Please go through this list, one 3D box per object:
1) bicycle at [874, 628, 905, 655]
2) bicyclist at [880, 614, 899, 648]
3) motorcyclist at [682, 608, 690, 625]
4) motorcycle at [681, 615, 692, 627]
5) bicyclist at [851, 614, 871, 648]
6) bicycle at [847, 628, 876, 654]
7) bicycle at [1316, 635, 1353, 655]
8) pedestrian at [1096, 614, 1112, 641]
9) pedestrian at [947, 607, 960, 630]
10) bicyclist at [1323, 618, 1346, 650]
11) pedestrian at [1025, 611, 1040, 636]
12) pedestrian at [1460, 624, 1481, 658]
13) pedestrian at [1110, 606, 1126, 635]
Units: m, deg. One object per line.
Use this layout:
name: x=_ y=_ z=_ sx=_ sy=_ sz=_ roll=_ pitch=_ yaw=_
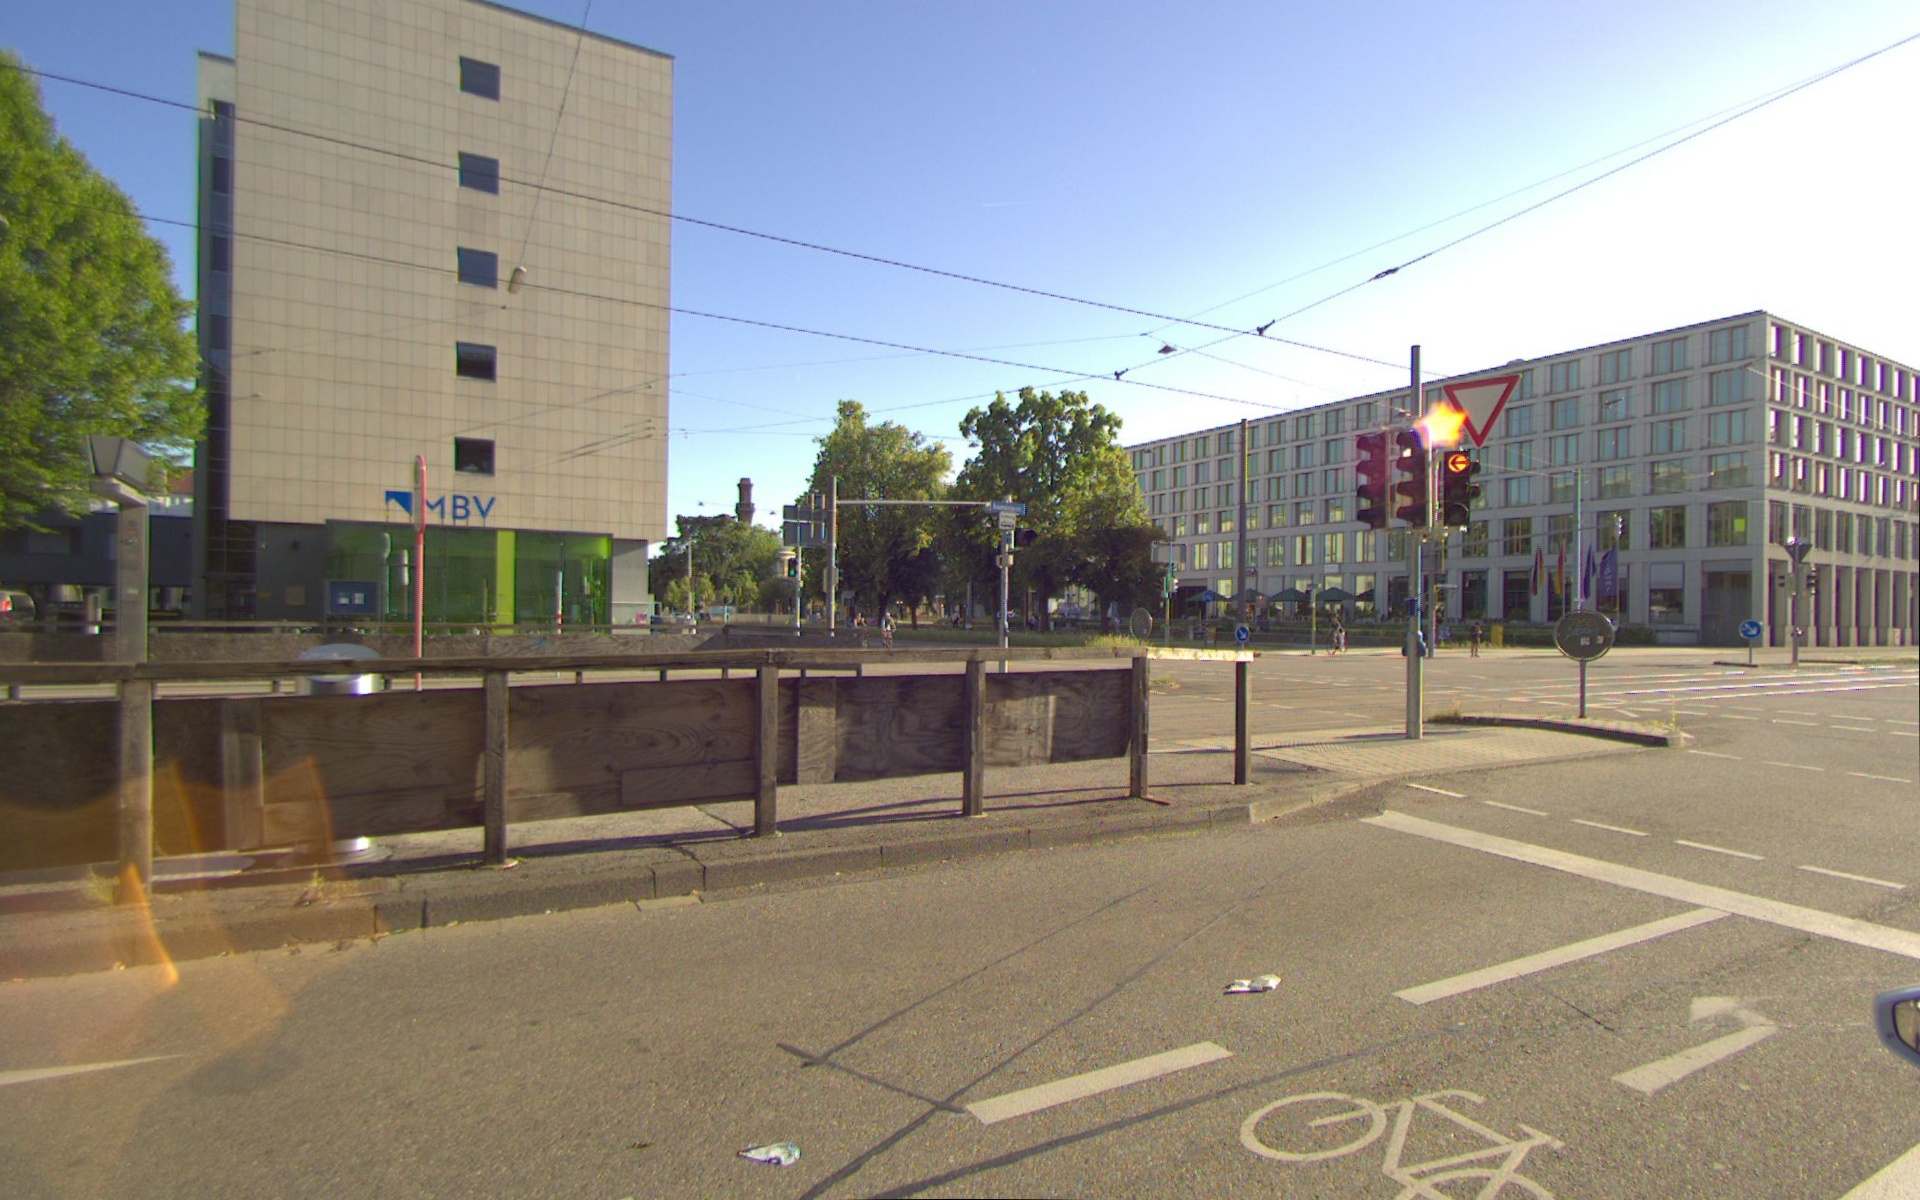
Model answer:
bicycle: x=-3.226 y=1.869 z=45.677 sx=0.616 sy=1.148 sz=1.869 roll=1 pitch=-1 yaw=-31
bicyclist: x=-3.223 y=1.396 z=45.663 sx=0.602 sy=1.544 sz=0.709 roll=1 pitch=-1 yaw=-32
motorcyclist: x=-26.402 y=1.602 z=96.915 sx=0.561 sy=1.598 sz=0.642 roll=1 pitch=-1 yaw=-34
motorcycle: x=-26.418 y=1.982 z=96.975 sx=0.524 sy=1.153 sz=1.449 roll=1 pitch=-1 yaw=-34
bicyclist: x=-4.490 y=1.411 z=45.539 sx=0.647 sy=1.544 sz=0.615 roll=1 pitch=-1 yaw=-32
bicycle: x=-4.489 y=1.836 z=45.529 sx=0.574 sy=1.148 sz=1.776 roll=1 pitch=-1 yaw=-31
bicycle: x=18.613 y=2.225 z=49.925 sx=1.841 sy=0.947 sz=0.757 roll=1 pitch=-1 yaw=-29
pedestrian: x=10.398 y=1.958 z=72.443 sx=0.861 sy=1.925 sz=0.714 roll=2 pitch=0 yaw=-20
pedestrian: x=-0.561 y=1.702 z=90.391 sx=0.817 sy=2.040 sz=0.836 roll=2 pitch=0 yaw=-38
bicyclist: x=18.595 y=1.690 z=49.933 sx=0.767 sy=1.610 sz=0.757 roll=1 pitch=-1 yaw=-24
pedestrian: x=5.735 y=1.853 z=79.389 sx=0.862 sy=1.925 sz=0.714 roll=2 pitch=0 yaw=-23
pedestrian: x=24.933 y=1.996 z=49.069 sx=0.587 sy=1.610 sz=0.768 roll=1 pitch=-1 yaw=-43
pedestrian: x=11.415 y=1.493 z=72.718 sx=0.812 sy=2.040 sz=0.841 roll=2 pitch=0 yaw=-20
